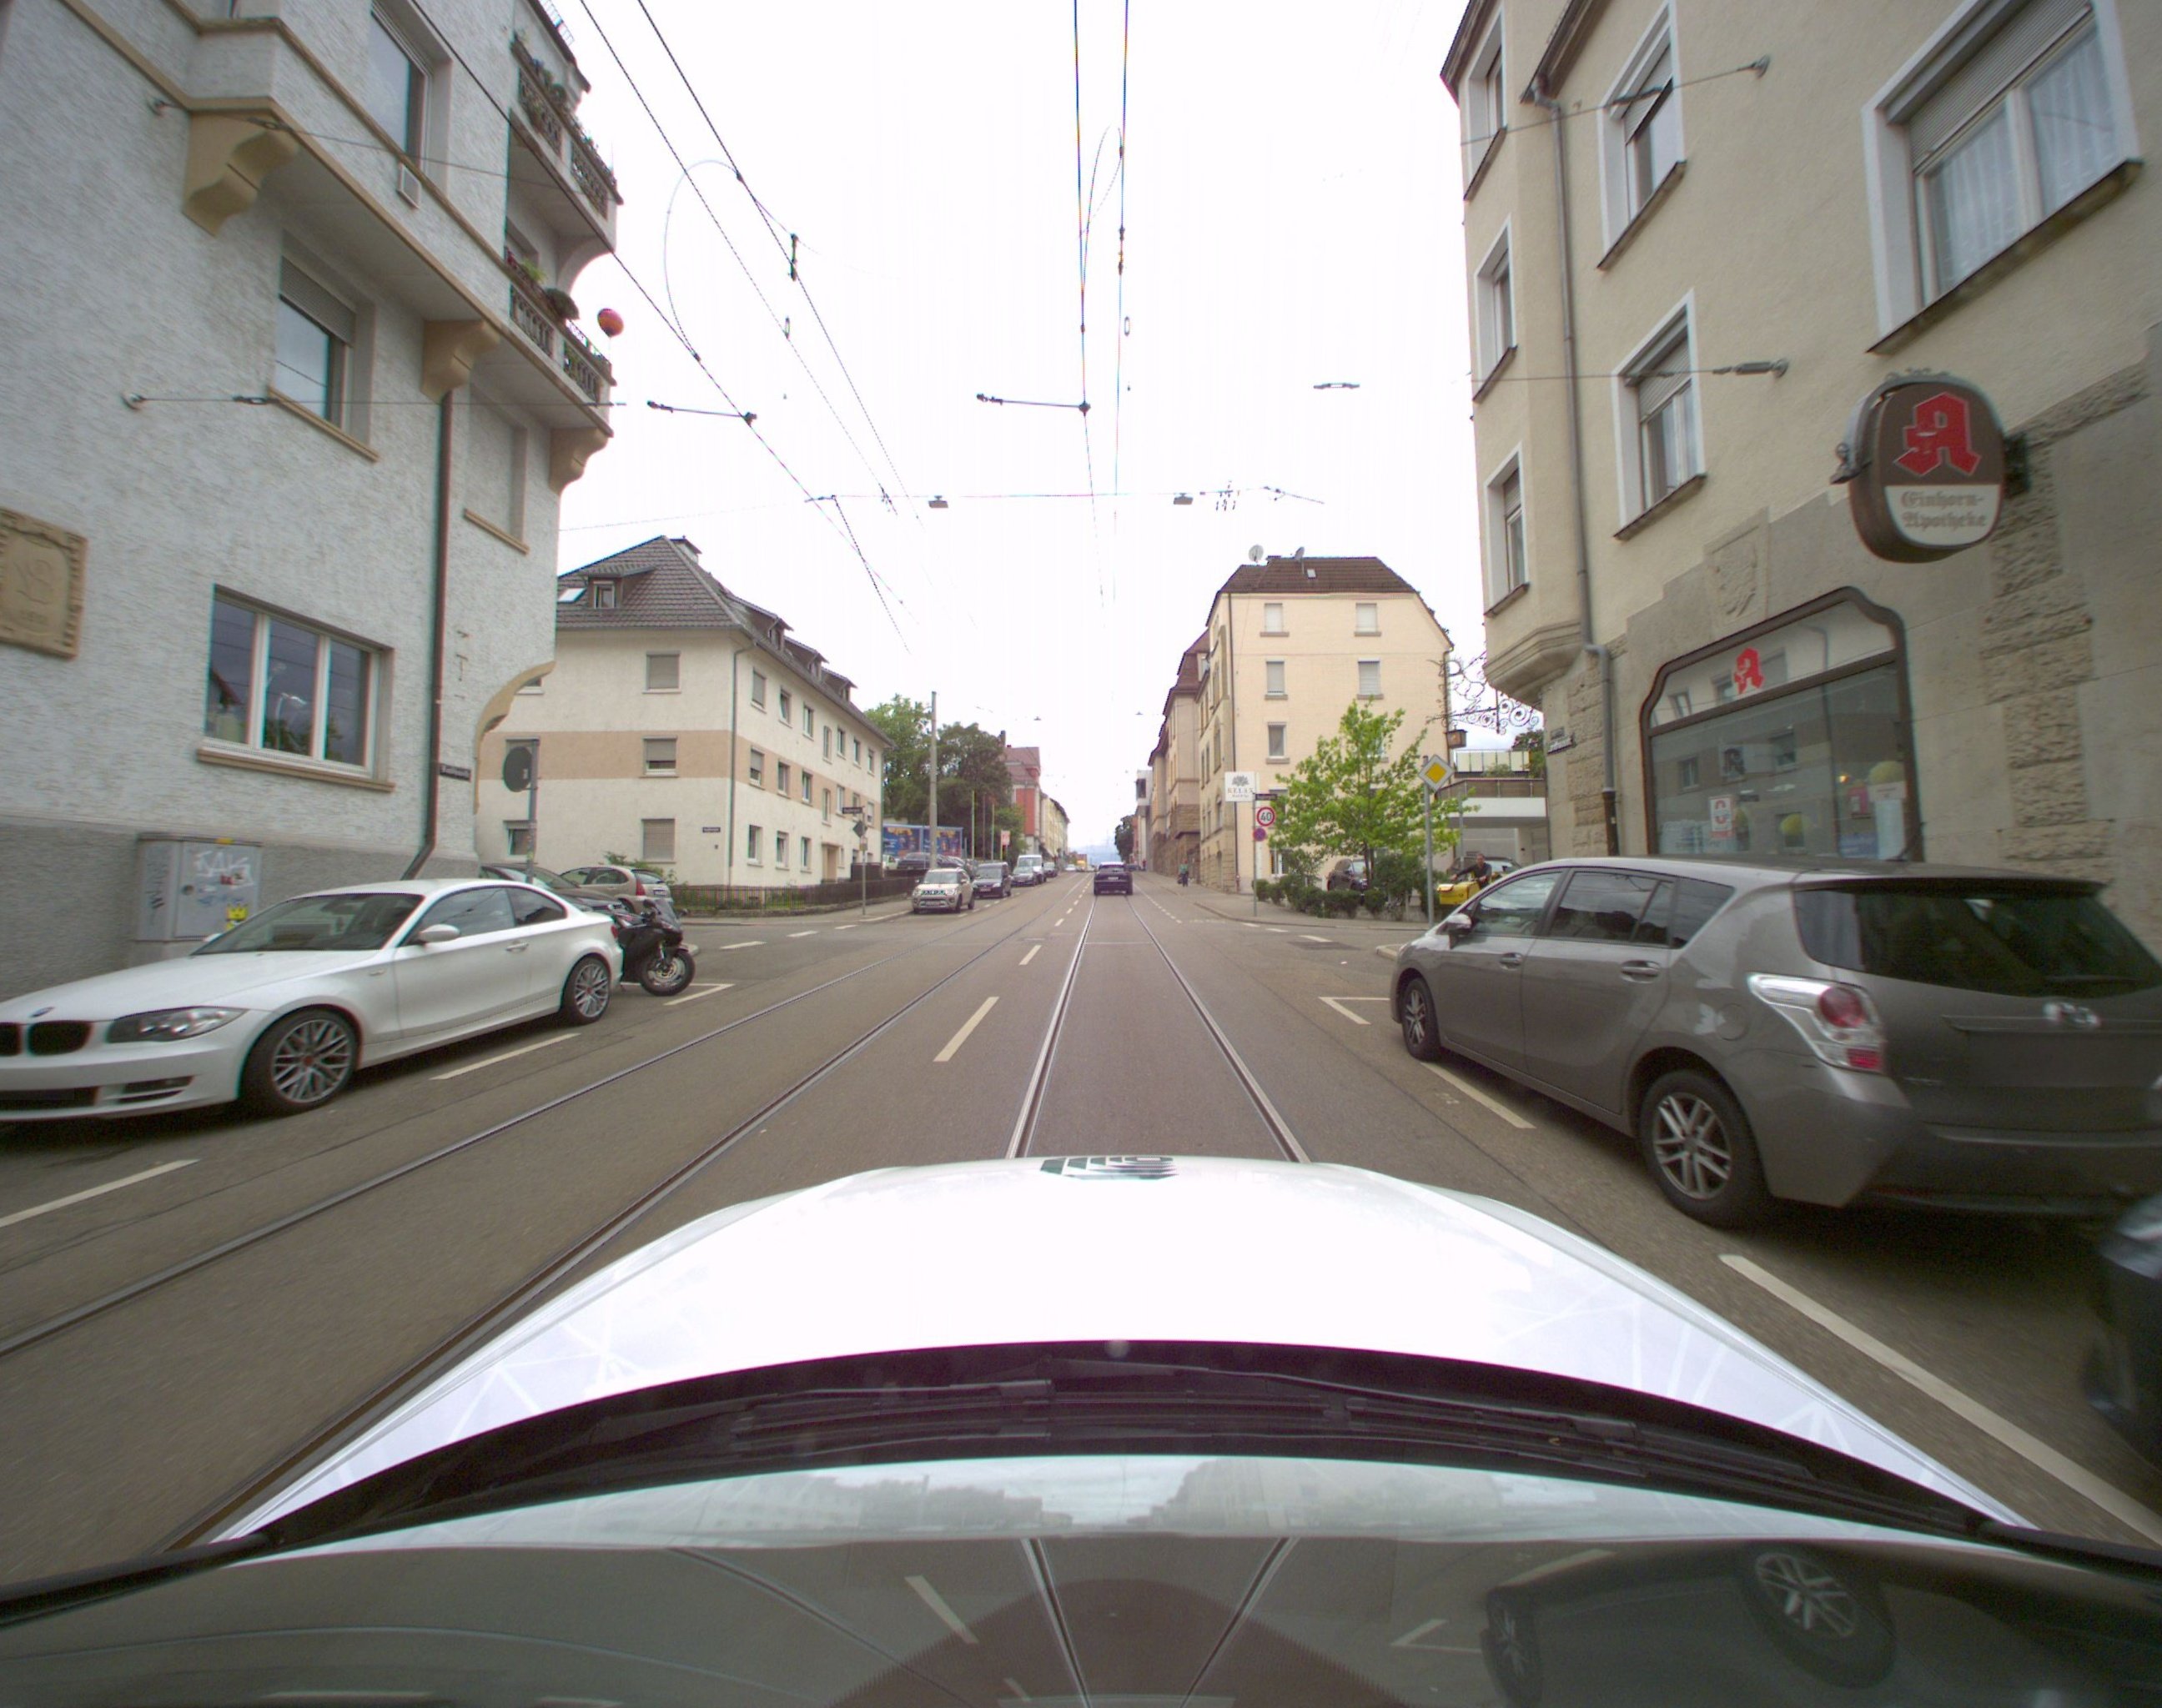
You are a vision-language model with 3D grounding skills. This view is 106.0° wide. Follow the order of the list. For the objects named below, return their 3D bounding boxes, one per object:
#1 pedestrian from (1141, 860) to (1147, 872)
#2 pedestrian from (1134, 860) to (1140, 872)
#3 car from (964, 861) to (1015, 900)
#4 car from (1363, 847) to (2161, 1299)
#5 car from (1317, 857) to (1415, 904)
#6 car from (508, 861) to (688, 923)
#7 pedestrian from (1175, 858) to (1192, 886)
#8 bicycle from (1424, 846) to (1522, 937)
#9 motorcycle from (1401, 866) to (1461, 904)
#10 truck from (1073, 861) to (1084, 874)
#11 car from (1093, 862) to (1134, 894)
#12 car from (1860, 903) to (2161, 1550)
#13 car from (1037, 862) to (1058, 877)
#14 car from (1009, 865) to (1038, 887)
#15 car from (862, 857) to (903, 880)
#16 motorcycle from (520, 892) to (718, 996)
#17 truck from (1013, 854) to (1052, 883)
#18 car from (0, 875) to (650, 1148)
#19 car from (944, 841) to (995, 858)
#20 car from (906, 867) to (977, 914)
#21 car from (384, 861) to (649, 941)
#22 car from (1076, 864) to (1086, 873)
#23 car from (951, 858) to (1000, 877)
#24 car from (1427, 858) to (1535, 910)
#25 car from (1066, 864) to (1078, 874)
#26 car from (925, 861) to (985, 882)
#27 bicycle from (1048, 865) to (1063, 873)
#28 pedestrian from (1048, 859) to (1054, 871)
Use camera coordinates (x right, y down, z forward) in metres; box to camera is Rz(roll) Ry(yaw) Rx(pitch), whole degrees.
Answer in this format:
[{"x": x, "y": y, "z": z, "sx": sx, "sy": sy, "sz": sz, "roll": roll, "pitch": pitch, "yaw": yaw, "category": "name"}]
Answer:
[{"x": 8.275, "y": 1.556, "z": 106.401, "sx": 0.788, "sy": 1.667, "sz": 0.799, "roll": 0, "pitch": -1, "yaw": 4, "category": "pedestrian"}, {"x": 7.319, "y": 1.575, "z": 106.492, "sx": 0.788, "sy": 1.667, "sz": 0.799, "roll": 0, "pitch": -1, "yaw": 4, "category": "pedestrian"}, {"x": -4.454, "y": 1.272, "z": 40.295, "sx": 1.736, "sy": 1.736, "sz": 4.523, "roll": -2, "pitch": -1, "yaw": 3, "category": "car"}, {"x": 3.447, "y": 0.783, "z": 5.111, "sx": 1.730, "sy": 1.537, "sz": 4.572, "roll": 1, "pitch": 0, "yaw": -1, "category": "car"}, {"x": 10.816, "y": 0.957, "z": 31.310, "sx": 1.987, "sy": 1.683, "sz": 5.094, "roll": 0, "pitch": -1, "yaw": 0, "category": "car"}, {"x": -12.421, "y": 1.016, "z": 21.129, "sx": 3.501, "sy": 1.493, "sz": 1.777, "roll": 0, "pitch": -6, "yaw": 2, "category": "car"}, {"x": 6.304, "y": 1.086, "z": 50.147, "sx": 0.867, "sy": 1.686, "sz": 0.663, "roll": -2, "pitch": -1, "yaw": 0, "category": "pedestrian"}, {"x": 8.706, "y": 0.824, "z": 17.991, "sx": 1.168, "sy": 1.867, "sz": 2.744, "roll": 0, "pitch": -3, "yaw": 43, "category": "bicycle"}, {"x": 11.254, "y": 1.024, "z": 26.312, "sx": 0.924, "sy": 1.105, "sz": 2.384, "roll": 1, "pitch": -5, "yaw": 0, "category": "motorcycle"}, {"x": -0.493, "y": 3.089, "z": 186.544, "sx": 2.294, "sy": 3.037, "sz": 9.036, "roll": 0, "pitch": -1, "yaw": 2, "category": "truck"}, {"x": 1.699, "y": 1.215, "z": 42.463, "sx": 1.986, "sy": 1.563, "sz": 4.292, "roll": 0, "pitch": 0, "yaw": 2, "category": "car"}, {"x": 3.271, "y": 0.850, "z": 0.169, "sx": 1.774, "sy": 1.390, "sz": 4.692, "roll": 1, "pitch": 0, "yaw": 0, "category": "car"}, {"x": -3.323, "y": 1.489, "z": 80.554, "sx": 1.705, "sy": 1.446, "sz": 4.292, "roll": 0, "pitch": 0, "yaw": 2, "category": "car"}, {"x": -4.081, "y": 1.531, "z": 58.698, "sx": 1.691, "sy": 1.433, "sz": 4.481, "roll": -2, "pitch": 0, "yaw": 0, "category": "car"}, {"x": -13.482, "y": 0.972, "z": 55.440, "sx": 1.676, "sy": 1.494, "sz": 3.891, "roll": 0, "pitch": 0, "yaw": 3, "category": "car"}, {"x": -5.534, "y": 1.065, "z": 9.775, "sx": 2.093, "sy": 1.134, "sz": 0.769, "roll": -2, "pitch": 0, "yaw": 15, "category": "motorcycle"}, {"x": -3.839, "y": 1.133, "z": 65.664, "sx": 2.271, "sy": 2.188, "sz": 8.030, "roll": 0, "pitch": 0, "yaw": 3, "category": "truck"}, {"x": -5.550, "y": 0.897, "z": 6.478, "sx": 1.772, "sy": 1.357, "sz": 4.295, "roll": -1, "pitch": 0, "yaw": 3, "category": "car"}, {"x": -9.011, "y": -0.332, "z": 66.157, "sx": 3.862, "sy": 1.357, "sz": 1.688, "roll": 0, "pitch": -1, "yaw": 1, "category": "car"}, {"x": -4.945, "y": 1.260, "z": 29.361, "sx": 1.690, "sy": 1.556, "sz": 3.853, "roll": 0, "pitch": 0, "yaw": 3, "category": "car"}, {"x": -10.942, "y": 0.876, "z": 15.977, "sx": 3.970, "sy": 1.464, "sz": 1.755, "roll": 0, "pitch": -1, "yaw": 3, "category": "car"}, {"x": 0.051, "y": 2.942, "z": 166.199, "sx": 1.848, "sy": 1.607, "sz": 4.298, "roll": 0, "pitch": 0, "yaw": 2, "category": "car"}, {"x": -8.949, "y": 1.130, "z": 68.854, "sx": 3.964, "sy": 1.551, "sz": 1.680, "roll": 0, "pitch": -1, "yaw": -13, "category": "car"}, {"x": 15.743, "y": 1.114, "z": 32.360, "sx": 1.987, "sy": 1.911, "sz": 4.703, "roll": 0, "pitch": -1, "yaw": 0, "category": "car"}, {"x": -1.450, "y": 2.515, "z": 133.659, "sx": 1.848, "sy": 1.607, "sz": 4.298, "roll": 0, "pitch": 0, "yaw": 2, "category": "car"}, {"x": -9.033, "y": 1.265, "z": 58.718, "sx": 4.046, "sy": 1.445, "sz": 1.688, "roll": 0, "pitch": -1, "yaw": 1, "category": "car"}, {"x": -3.243, "y": 1.952, "z": 104.045, "sx": 1.903, "sy": 1.000, "sz": 0.479, "roll": 0, "pitch": -1, "yaw": 2, "category": "bicycle"}, {"x": -4.379, "y": 1.584, "z": 119.034, "sx": 0.772, "sy": 1.776, "sz": 0.650, "roll": 0, "pitch": -1, "yaw": 2, "category": "pedestrian"}]
